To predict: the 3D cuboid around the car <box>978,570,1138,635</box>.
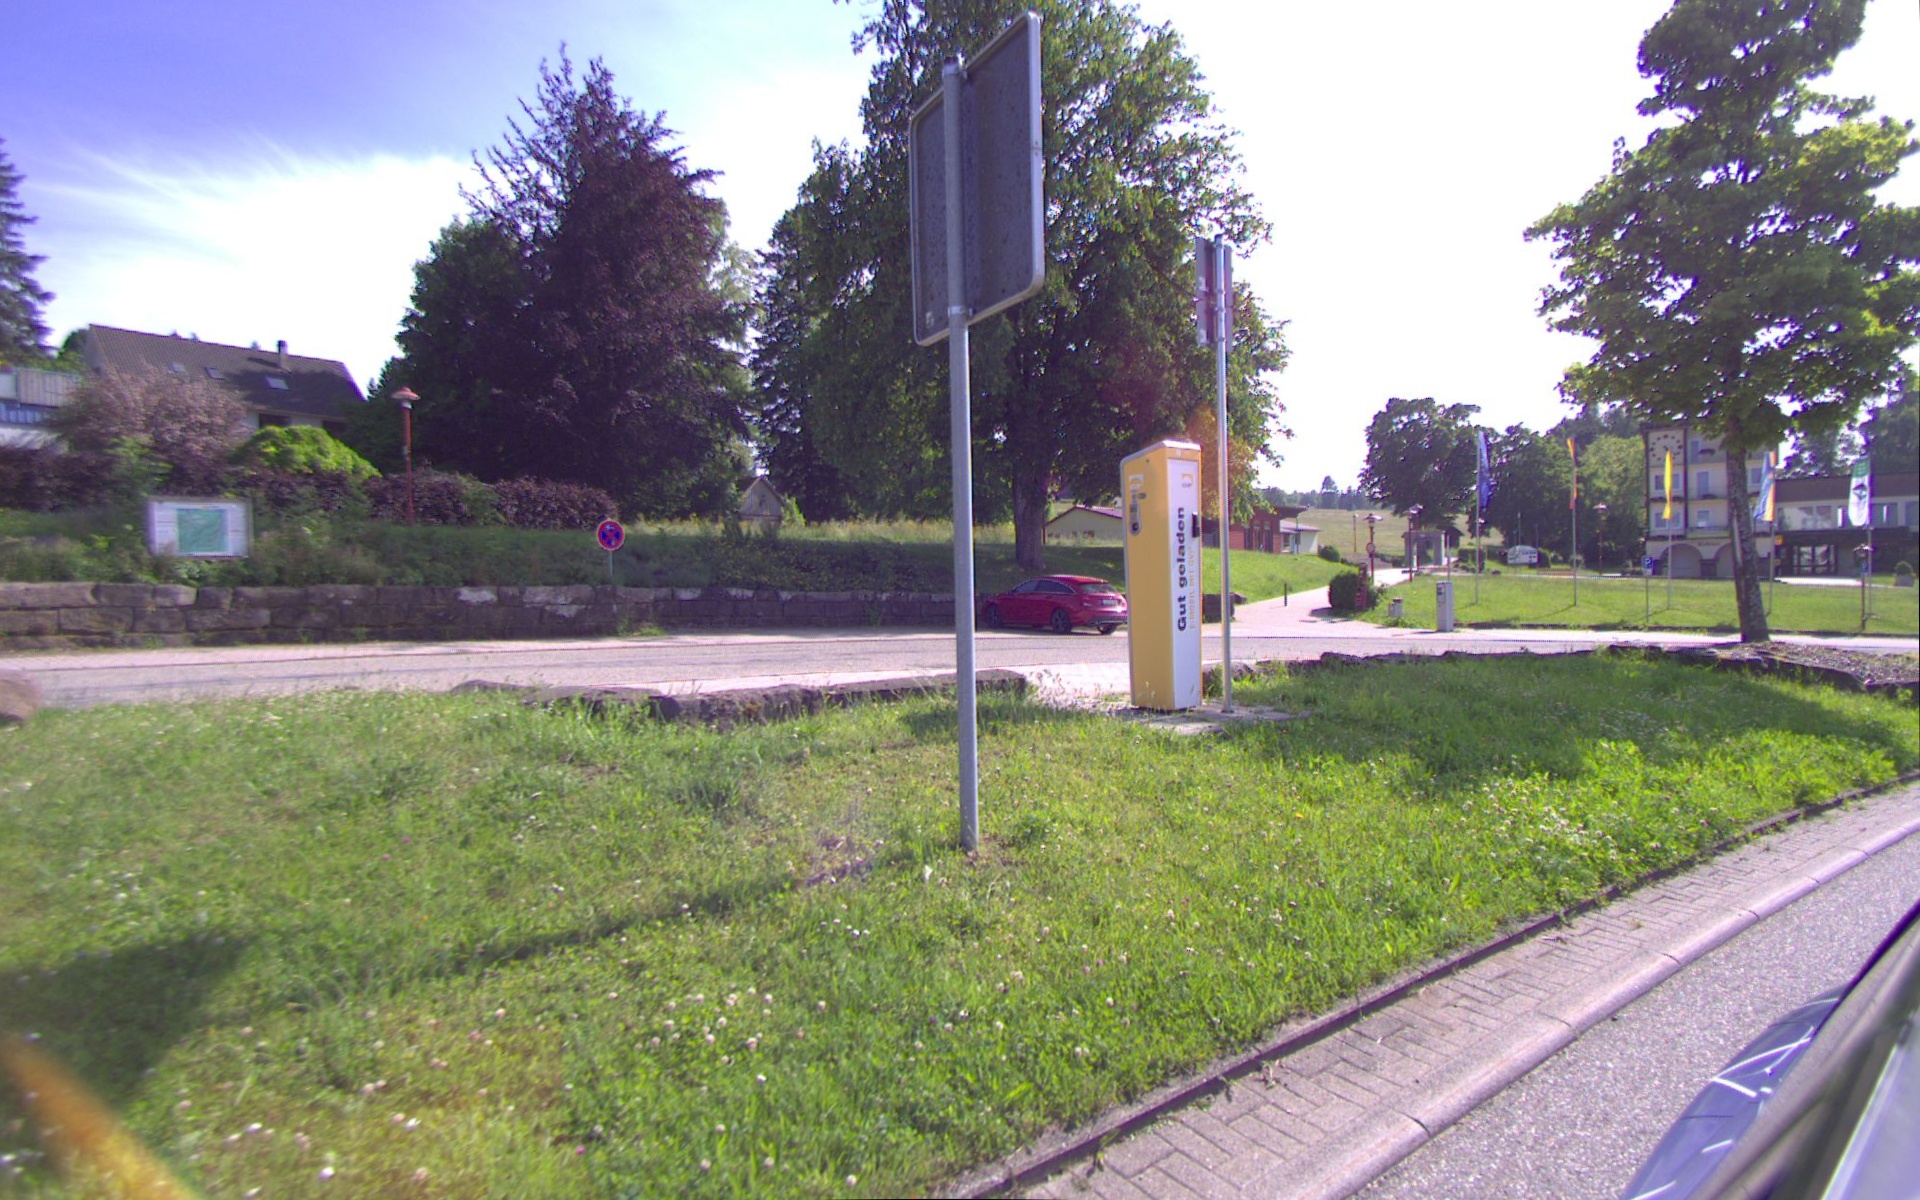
[{"bbox_3d":[2.392,-0.002,25.845,1.670,1.446,4.267,0,3,-36],"label":"car"}]
